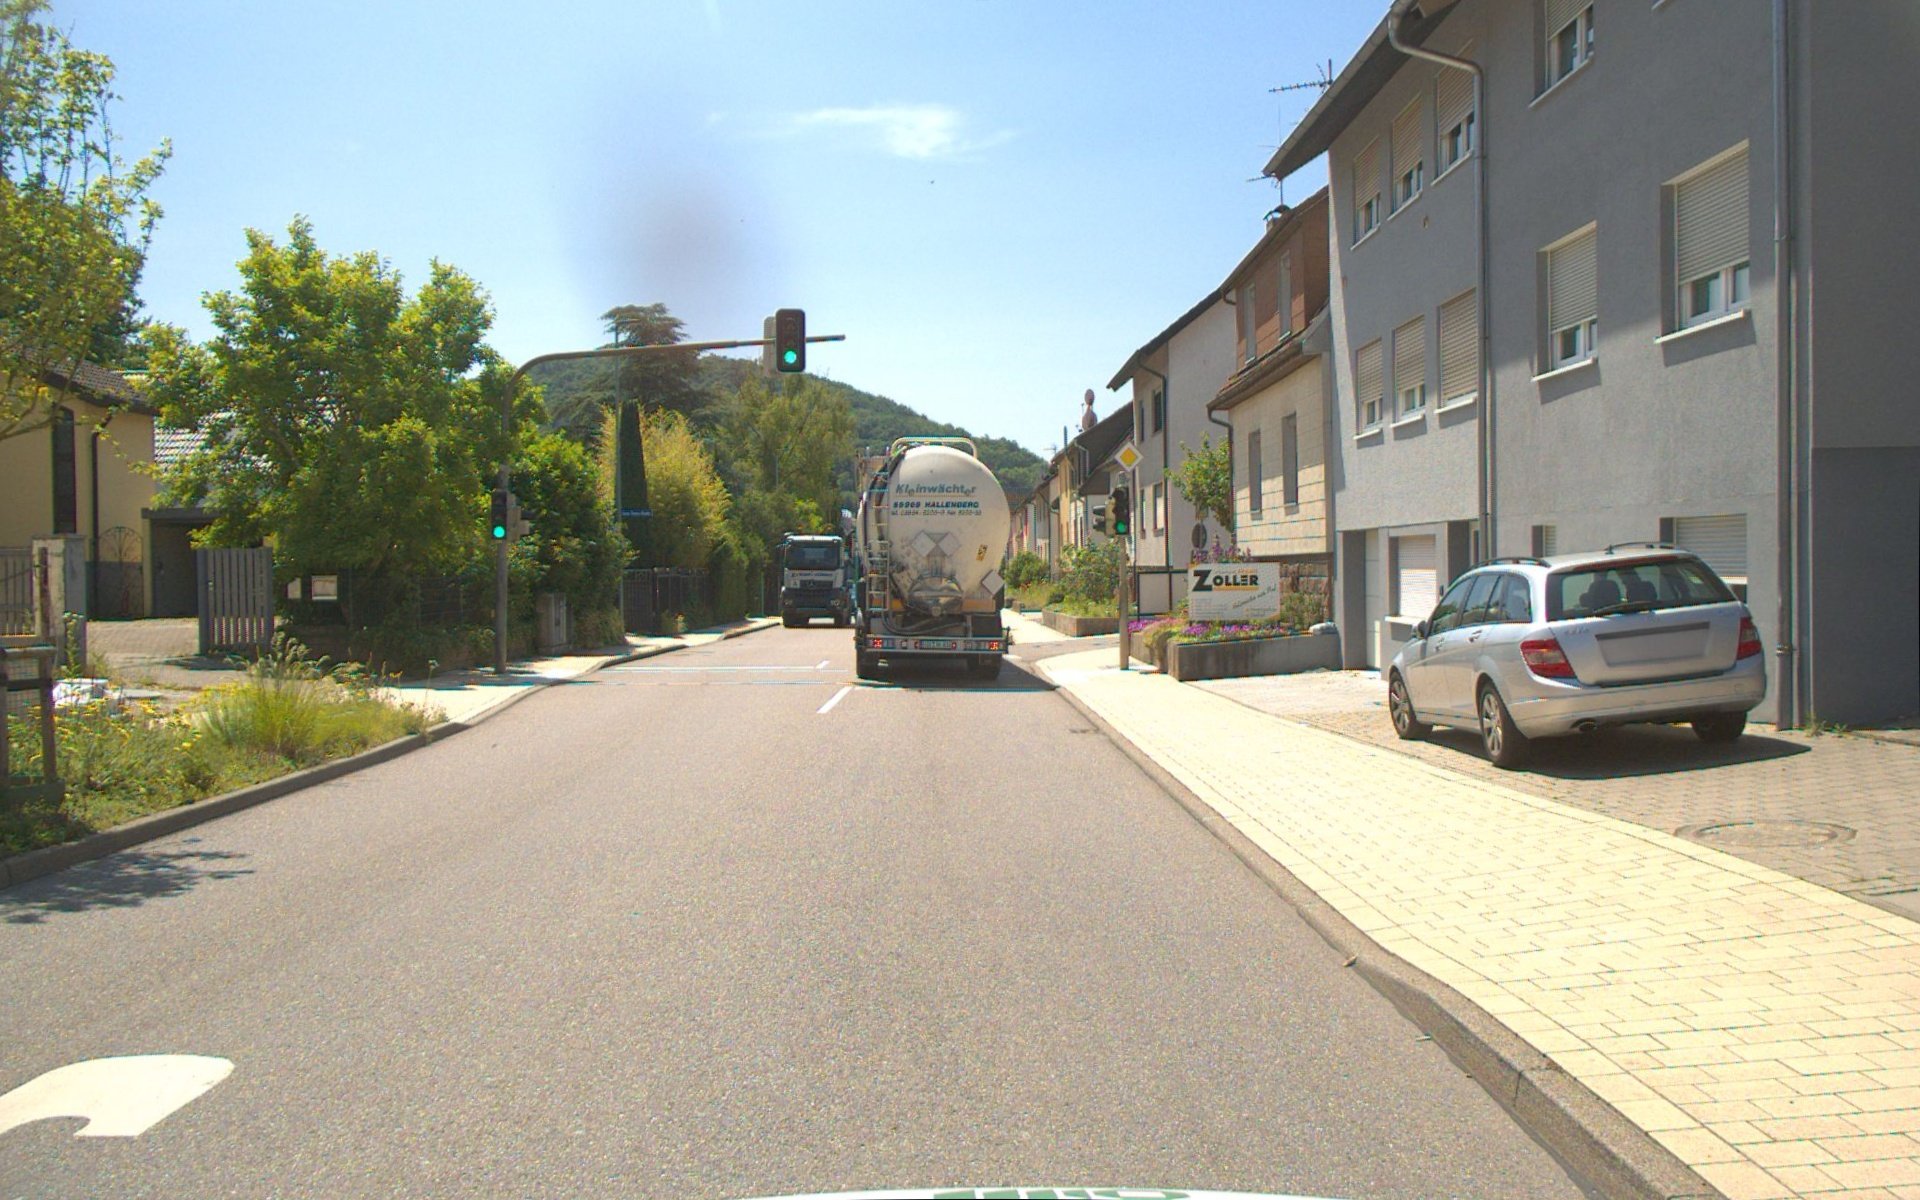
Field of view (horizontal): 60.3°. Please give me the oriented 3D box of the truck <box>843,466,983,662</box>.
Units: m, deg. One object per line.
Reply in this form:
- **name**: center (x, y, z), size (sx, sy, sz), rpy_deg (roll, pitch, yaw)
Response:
- **truck**: center (-1.174, -0.761, 37.092), size (2.754, 4.006, 6.092), rpy_deg (1, 0, -5)

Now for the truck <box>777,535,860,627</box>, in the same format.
- **truck**: center (-5.575, -0.757, 66.452), size (2.673, 3.430, 8.633), rpy_deg (1, 0, -1)

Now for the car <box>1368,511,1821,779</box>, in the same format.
- **car**: center (4.627, 0.284, 12.875), size (1.754, 1.568, 4.520), rpy_deg (-5, 0, 1)

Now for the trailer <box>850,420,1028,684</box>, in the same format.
- **trailer**: center (-0.664, -0.765, 30.755), size (2.741, 4.071, 10.315), rpy_deg (0, 0, -4)
